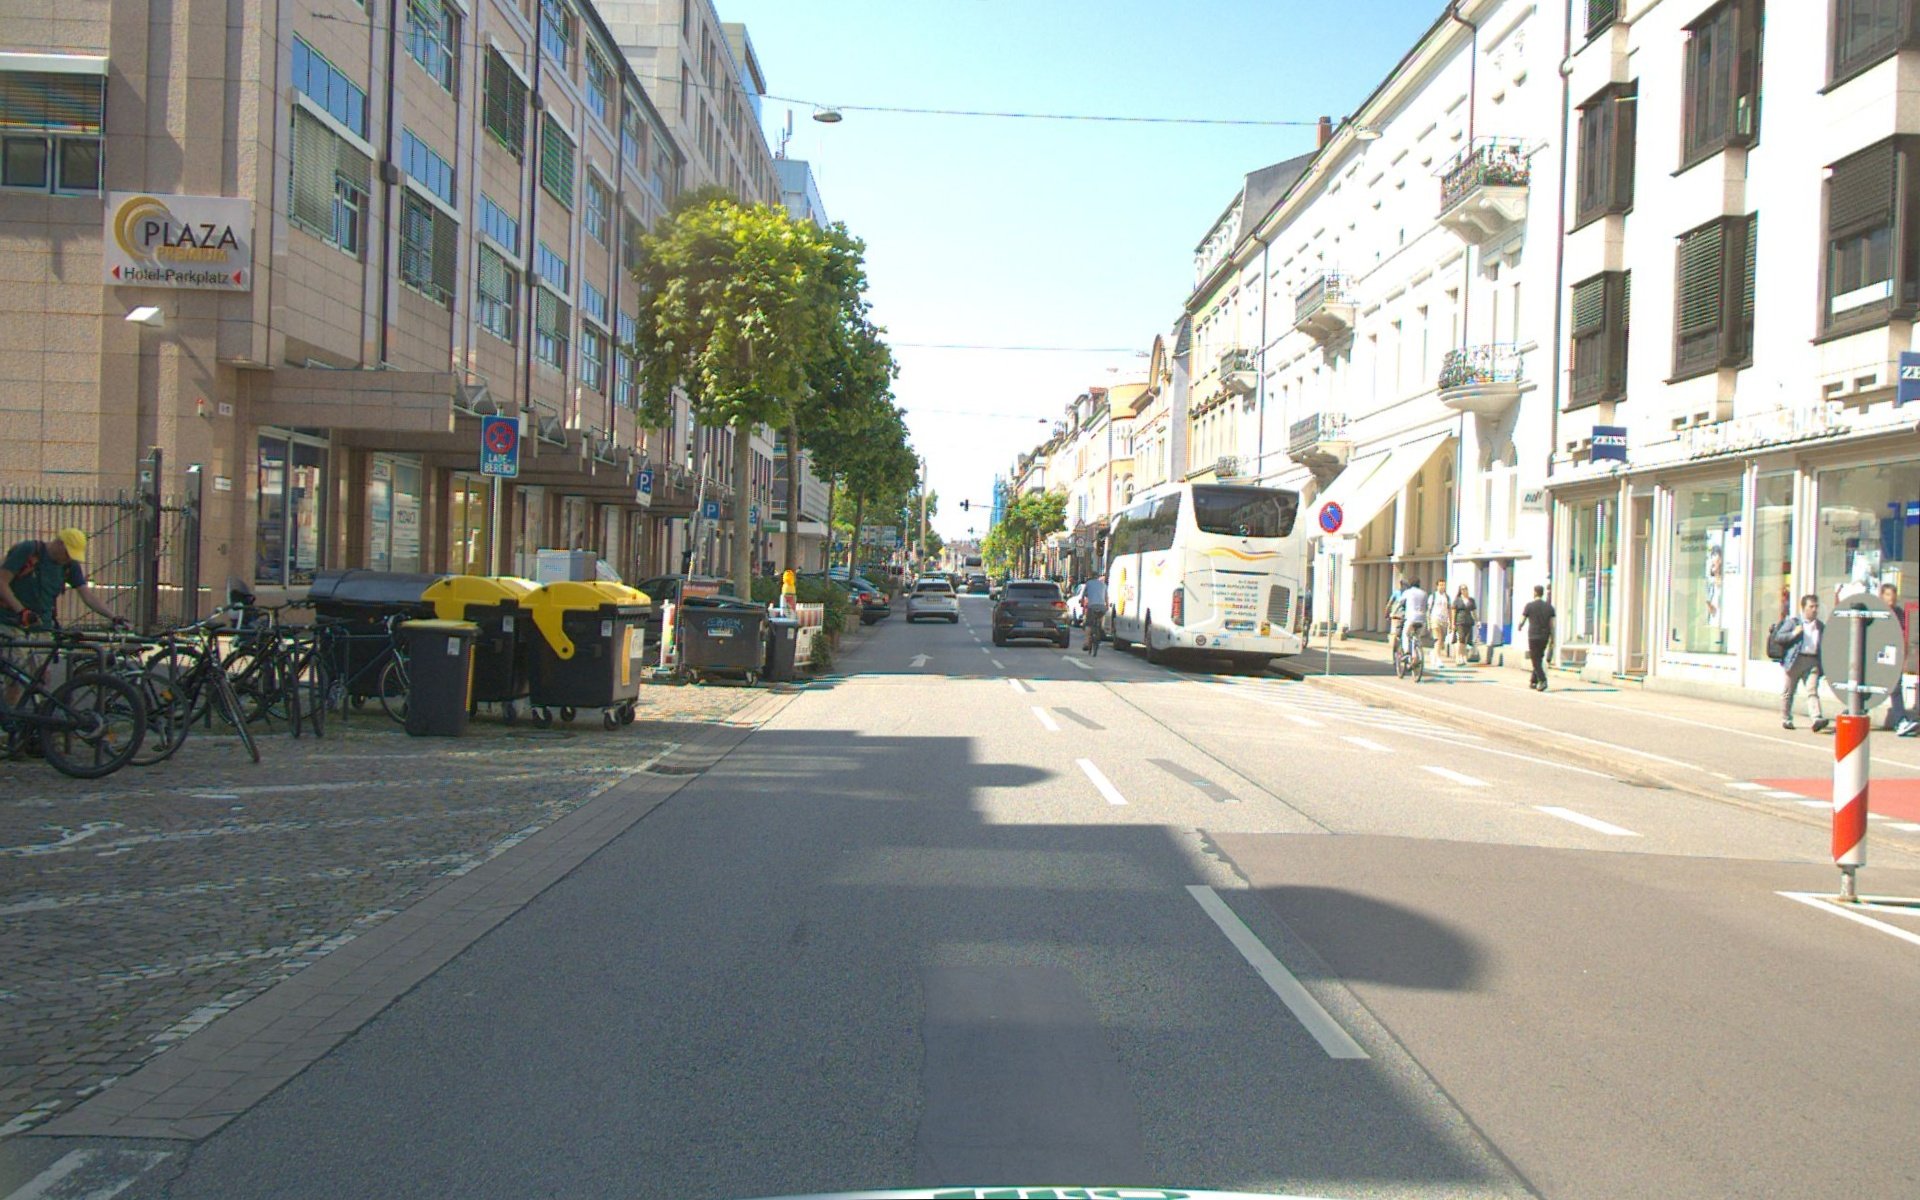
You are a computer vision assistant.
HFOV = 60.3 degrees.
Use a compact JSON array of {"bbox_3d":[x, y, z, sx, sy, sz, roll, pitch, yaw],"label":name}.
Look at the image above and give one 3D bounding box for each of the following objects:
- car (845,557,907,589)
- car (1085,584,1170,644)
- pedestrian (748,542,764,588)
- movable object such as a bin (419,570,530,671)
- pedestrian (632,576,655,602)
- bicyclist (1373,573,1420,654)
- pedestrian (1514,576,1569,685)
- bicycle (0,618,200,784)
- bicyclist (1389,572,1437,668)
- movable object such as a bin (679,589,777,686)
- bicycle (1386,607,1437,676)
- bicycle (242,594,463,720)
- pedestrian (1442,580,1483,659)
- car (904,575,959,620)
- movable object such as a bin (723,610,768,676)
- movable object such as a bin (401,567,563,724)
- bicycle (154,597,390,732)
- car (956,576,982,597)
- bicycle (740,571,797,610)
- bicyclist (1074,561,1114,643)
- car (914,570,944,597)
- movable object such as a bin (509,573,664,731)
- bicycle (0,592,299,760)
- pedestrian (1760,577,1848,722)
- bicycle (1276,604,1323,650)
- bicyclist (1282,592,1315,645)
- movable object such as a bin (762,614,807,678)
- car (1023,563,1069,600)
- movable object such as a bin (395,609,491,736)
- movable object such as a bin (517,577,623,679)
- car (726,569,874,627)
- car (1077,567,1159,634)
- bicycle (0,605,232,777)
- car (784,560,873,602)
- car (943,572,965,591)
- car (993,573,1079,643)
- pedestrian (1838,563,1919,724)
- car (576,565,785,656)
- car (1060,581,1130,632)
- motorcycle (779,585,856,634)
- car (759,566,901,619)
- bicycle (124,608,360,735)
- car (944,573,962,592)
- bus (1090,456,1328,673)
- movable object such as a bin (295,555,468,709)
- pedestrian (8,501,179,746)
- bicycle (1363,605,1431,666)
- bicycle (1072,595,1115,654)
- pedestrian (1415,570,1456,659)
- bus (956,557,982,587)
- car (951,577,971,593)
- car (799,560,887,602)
[{"bbox_3d":[-6.588,-2.145,129.867,4.638,2.037,1.932,6,0,40],"label":"car"},{"bbox_3d":[4.680,0.349,46.975,1.821,1.495,5.225,3,1,0],"label":"car"},{"bbox_3d":[-7.562,-1.290,61.375,0.555,1.686,0.636,1,1,-6],"label":"pedestrian"},{"bbox_3d":[-6.906,0.279,23.599,1.184,1.322,1.127,3,1,-1],"label":"movable object such as a bin"},{"bbox_3d":[-10.752,-0.385,56.235,0.554,0.822,0.774,7,1,-1],"label":"pedestrian"},{"bbox_3d":[8.639,0.265,32.750,0.608,1.556,0.869,2,0,-2],"label":"bicyclist"},{"bbox_3d":[9.554,0.511,27.196,0.607,1.750,0.835,2,-2,2],"label":"pedestrian"},{"bbox_3d":[-6.387,0.666,11.379,1.928,1.035,0.669,4,-1,-12],"label":"bicycle"},{"bbox_3d":[7.993,0.349,29.228,0.679,1.654,0.836,1,0,7],"label":"bicyclist"},{"bbox_3d":[-3.322,0.520,23.786,1.251,1.322,0.853,2,0,-1],"label":"movable object such as a bin"},{"bbox_3d":[8.016,0.717,29.400,0.582,1.140,1.802,2,1,7],"label":"bicycle"},{"bbox_3d":[-5.994,0.559,16.377,1.929,1.140,0.508,3,-1,-5],"label":"bicycle"},{"bbox_3d":[10.751,0.419,35.394,0.632,1.645,0.822,1,-1,2],"label":"pedestrian"},{"bbox_3d":[-0.954,-0.092,57.401,1.825,1.466,4.000,1,0,0],"label":"car"},{"bbox_3d":[-3.250,0.645,25.073,0.488,0.955,0.556,1,1,16],"label":"movable object such as a bin"},{"bbox_3d":[-4.923,0.438,17.147,1.100,1.475,1.440,4,1,5],"label":"movable object such as a bin"},{"bbox_3d":[-6.520,0.611,15.731,1.935,1.140,0.508,4,-1,-5],"label":"bicycle"},{"bbox_3d":[0.638,-1.013,122.859,1.825,1.466,3.999,1,1,-1],"label":"car"},{"bbox_3d":[-7.107,-0.353,61.346,2.027,1.310,0.367,4,0,-8],"label":"bicycle"},{"bbox_3d":[2.887,0.037,35.772,0.680,1.702,0.916,4,1,0],"label":"bicyclist"},{"bbox_3d":[-1.816,-0.987,96.756,1.708,1.466,3.999,1,1,-1],"label":"car"},{"bbox_3d":[-3.823,0.499,17.058,1.100,1.475,1.440,4,1,5],"label":"movable object such as a bin"},{"bbox_3d":[-6.353,0.582,12.759,2.197,1.140,0.555,4,-1,-12],"label":"bicycle"},{"bbox_3d":[10.252,0.585,20.113,0.679,1.715,0.836,1,0,8],"label":"pedestrian"},{"bbox_3d":[8.725,0.671,42.547,0.608,1.118,2.352,2,0,-2],"label":"bicycle"},{"bbox_3d":[8.725,0.468,42.676,0.608,1.319,0.866,2,0,-2],"label":"bicyclist"},{"bbox_3d":[-2.687,0.697,25.329,0.547,0.955,0.496,0,1,-27],"label":"movable object such as a bin"},{"bbox_3d":[3.815,-0.786,73.807,1.796,1.554,3.999,0,-1,-1],"label":"car"},{"bbox_3d":[-4.876,0.677,15.630,0.709,1.117,0.655,3,1,-8],"label":"movable object such as a bin"},{"bbox_3d":[-5.540,0.383,23.579,1.184,1.322,1.080,4,2,-1],"label":"movable object such as a bin"},{"bbox_3d":[-5.065,-0.063,51.986,4.673,1.560,1.978,4,1,42],"label":"car"},{"bbox_3d":[4.971,-0.022,52.515,1.791,1.895,4.351,3,1,-4],"label":"car"},{"bbox_3d":[-6.458,0.649,12.100,1.925,1.140,0.555,4,-1,-12],"label":"bicycle"},{"bbox_3d":[-6.071,-0.890,76.290,3.910,1.526,1.716,6,0,-5],"label":"car"},{"bbox_3d":[-0.520,-1.542,141.521,1.825,1.466,3.998,1,-1,-1],"label":"car"},{"bbox_3d":[1.782,0.153,39.904,1.796,1.554,3.999,2,1,-1],"label":"car"},{"bbox_3d":[11.088,0.521,19.882,0.679,1.883,0.836,1,-1,8],"label":"pedestrian"},{"bbox_3d":[-5.516,0.175,32.400,3.985,1.520,1.925,4,2,41],"label":"car"},{"bbox_3d":[4.691,0.198,57.971,1.777,1.491,4.578,3,2,-3],"label":"car"},{"bbox_3d":[-3.799,0.242,44.155,1.871,1.190,0.760,3,1,20],"label":"motorcycle"},{"bbox_3d":[-4.344,-0.254,54.971,4.709,1.447,1.873,5,2,40],"label":"car"},{"bbox_3d":[-6.396,0.642,14.789,1.807,1.092,0.556,1,-3,-5],"label":"bicycle"},{"bbox_3d":[-0.714,-1.796,174.702,1.825,1.882,3.998,1,-1,-1],"label":"car"},{"bbox_3d":[5.065,-0.728,36.592,2.824,3.806,12.423,4,1,-2],"label":"bus"},{"bbox_3d":[-6.045,0.308,17.365,1.183,1.475,1.365,4,1,5],"label":"movable object such as a bin"},{"bbox_3d":[-6.486,0.174,12.425,0.872,1.755,0.747,2,0,-7],"label":"pedestrian"},{"bbox_3d":[8.630,0.687,32.728,0.608,1.118,2.352,2,0,-2],"label":"bicycle"},{"bbox_3d":[2.862,0.508,35.648,0.651,1.139,2.243,4,1,0],"label":"bicycle"},{"bbox_3d":[9.940,0.309,34.573,0.561,1.809,1.020,1,-1,2],"label":"pedestrian"},{"bbox_3d":[1.098,-3.634,211.875,2.715,3.668,8.968,1,1,-4],"label":"bus"},{"bbox_3d":[0.100,-1.453,160.386,1.825,1.466,3.998,1,-1,-1],"label":"car"},{"bbox_3d":[-5.862,-0.938,82.685,3.911,1.594,1.699,7,1,24],"label":"car"}]
